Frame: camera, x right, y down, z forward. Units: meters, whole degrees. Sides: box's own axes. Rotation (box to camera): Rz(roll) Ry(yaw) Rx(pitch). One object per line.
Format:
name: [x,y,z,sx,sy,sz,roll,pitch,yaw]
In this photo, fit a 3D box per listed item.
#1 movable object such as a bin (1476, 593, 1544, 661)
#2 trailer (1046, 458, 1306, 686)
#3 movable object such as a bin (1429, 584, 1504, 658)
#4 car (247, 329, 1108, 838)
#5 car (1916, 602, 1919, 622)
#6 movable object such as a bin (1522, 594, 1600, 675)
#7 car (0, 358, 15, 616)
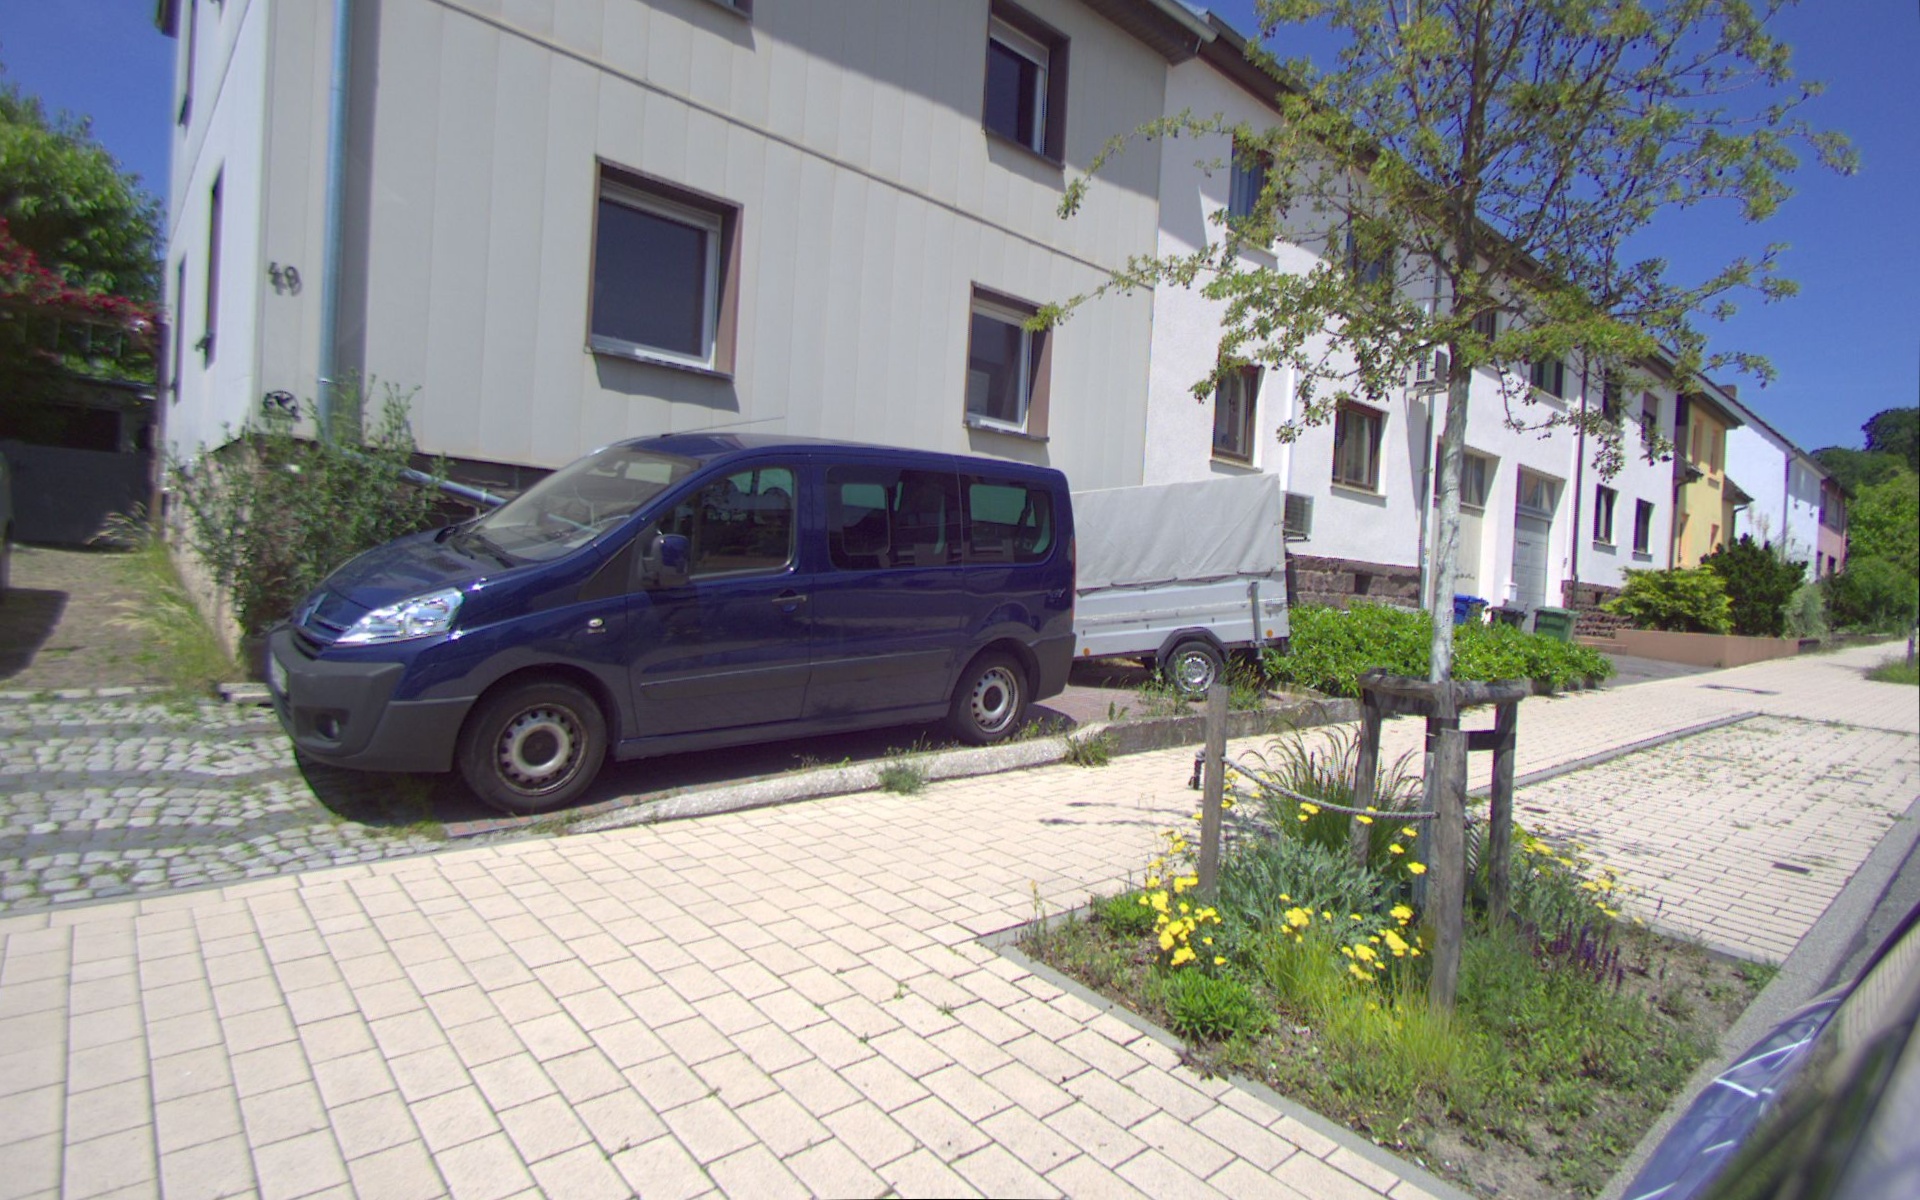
movable object such as a bin: [8.674,0.414,15.963,0.787,0.997,0.560,1,6,-35]
trailer: [2.023,-0.264,9.890,2.231,2.039,1.324,1,0,1]
movable object such as a bin: [8.265,0.337,16.514,0.846,1.119,0.688,1,5,-35]
car: [-1.393,-0.145,6.211,4.691,1.994,1.857,0,6,-42]
car: [65.952,0.856,68.400,1.669,1.393,3.942,4,3,40]
movable object such as a bin: [9.212,0.513,15.523,0.797,1.128,0.687,0,5,-36]
car: [-6.856,-0.661,5.802,1.857,1.785,4.001,1,8,-40]
